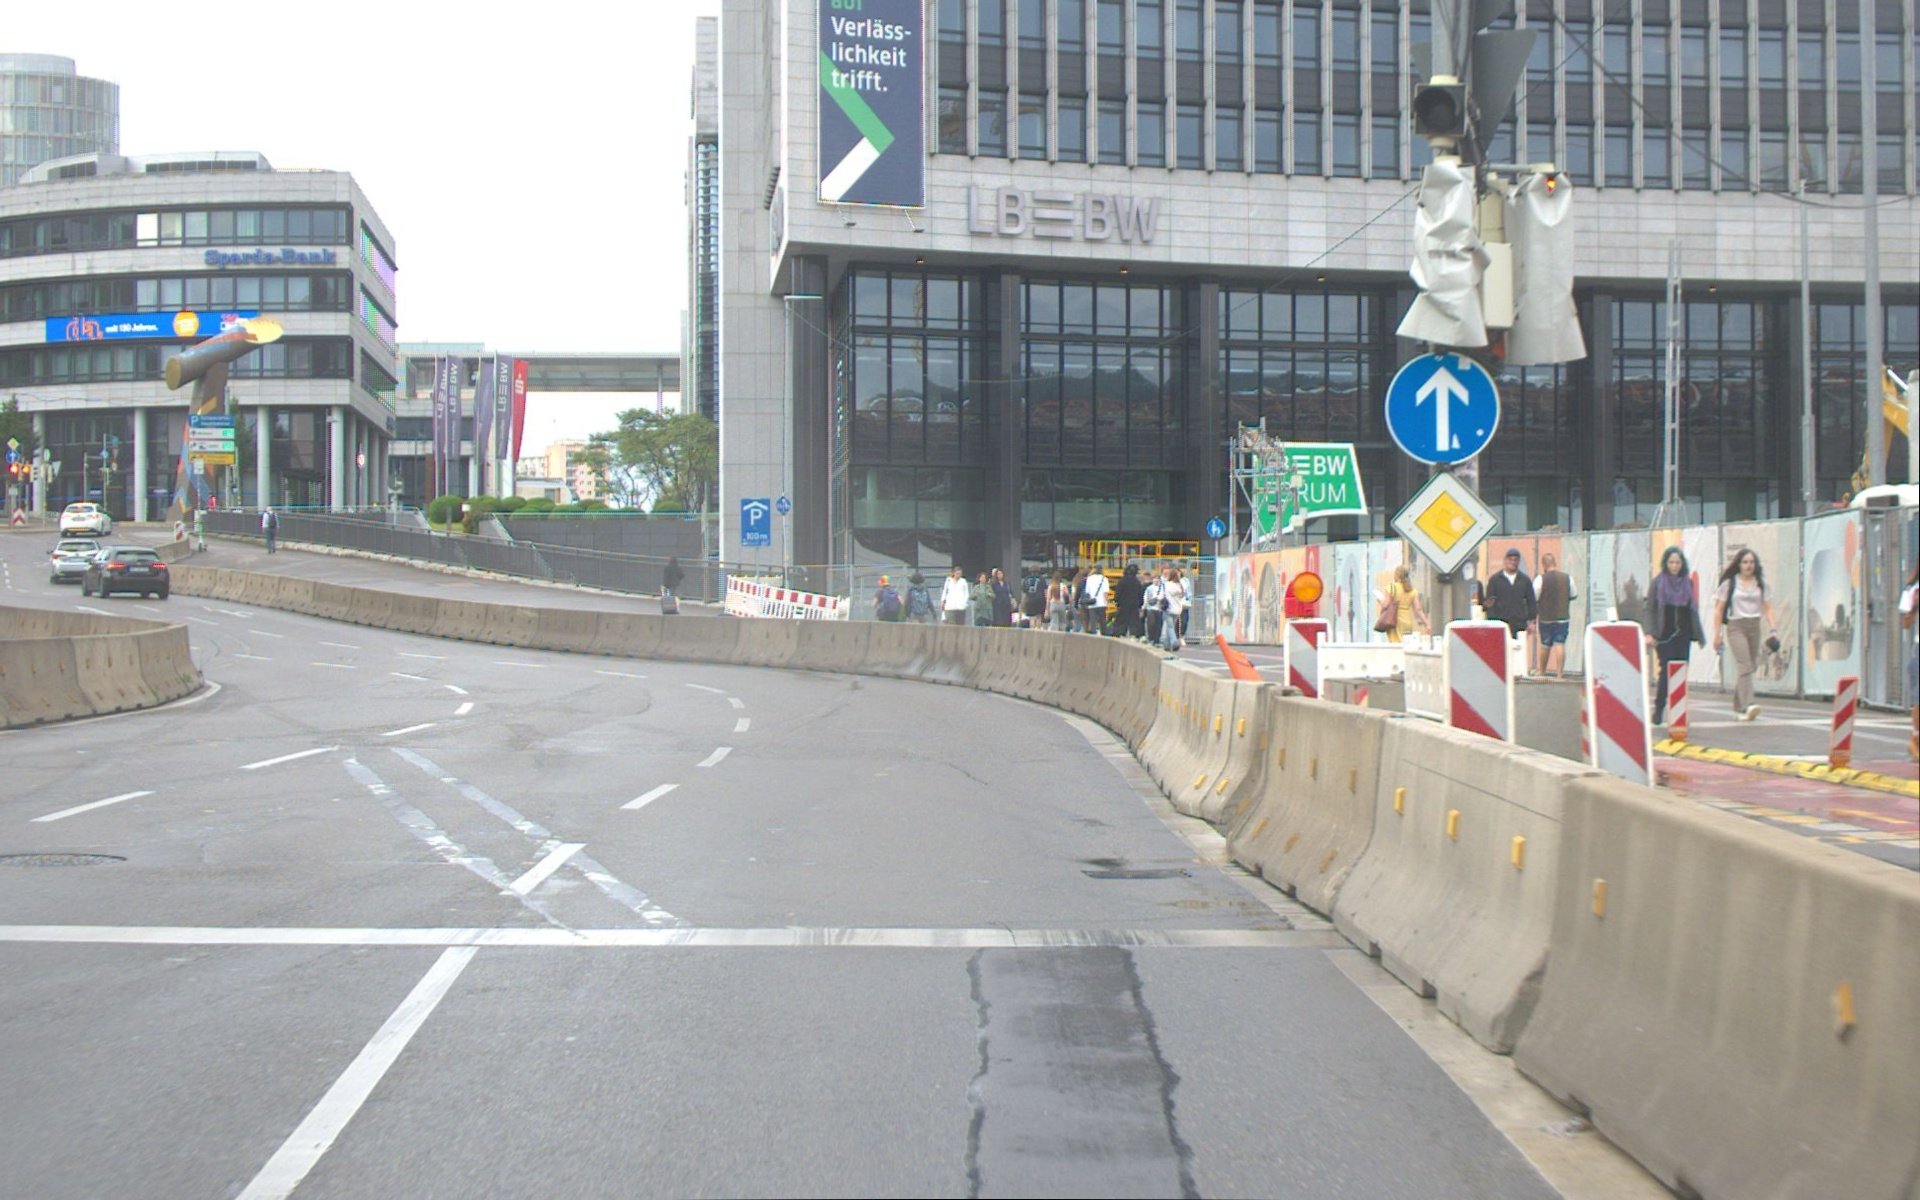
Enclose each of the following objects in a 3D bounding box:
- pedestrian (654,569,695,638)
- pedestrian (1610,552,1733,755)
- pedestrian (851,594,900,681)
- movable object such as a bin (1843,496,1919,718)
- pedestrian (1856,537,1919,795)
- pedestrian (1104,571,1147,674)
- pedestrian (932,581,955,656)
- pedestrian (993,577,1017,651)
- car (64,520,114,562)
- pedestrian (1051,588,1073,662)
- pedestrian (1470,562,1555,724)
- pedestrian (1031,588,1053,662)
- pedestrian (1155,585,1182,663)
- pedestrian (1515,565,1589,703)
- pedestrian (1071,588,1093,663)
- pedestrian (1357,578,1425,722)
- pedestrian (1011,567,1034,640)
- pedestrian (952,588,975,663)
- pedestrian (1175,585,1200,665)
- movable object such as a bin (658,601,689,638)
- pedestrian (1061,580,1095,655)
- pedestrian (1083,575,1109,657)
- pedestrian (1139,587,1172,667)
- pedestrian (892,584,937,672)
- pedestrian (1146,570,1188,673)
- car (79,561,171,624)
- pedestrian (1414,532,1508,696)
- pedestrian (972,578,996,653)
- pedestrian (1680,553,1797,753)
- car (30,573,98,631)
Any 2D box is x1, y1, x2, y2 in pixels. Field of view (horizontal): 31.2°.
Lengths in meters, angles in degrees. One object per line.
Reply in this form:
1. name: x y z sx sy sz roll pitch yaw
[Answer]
1. pedestrian: -7.468 0.098 89.885 0.756 1.784 1.057 1 -1 -23
2. pedestrian: 6.615 0.492 32.002 0.869 1.855 0.949 0 0 -5
3. pedestrian: -1.597 0.707 64.961 0.750 1.636 0.823 0 0 -14
4. movable object such as a bin: 18.601 0.146 62.906 3.086 4.016 3.697 1 -1 -24
5. pedestrian: 7.128 0.476 25.245 0.779 1.855 0.949 0 0 -5
6. pedestrian: 3.268 0.443 67.890 0.784 2.007 0.863 1 0 5
7. pedestrian: -0.381 0.419 78.590 0.448 1.699 0.647 1 0 -6
8. pedestrian: 1.037 0.321 78.785 0.448 1.699 0.647 1 0 -6
9. car: -38.252 -2.589 150.916 1.993 1.798 4.267 0 0 -15
10. pedestrian: 2.367 0.579 79.625 0.448 1.699 0.646 1 0 7
11. pedestrian: 6.400 0.490 39.847 0.779 1.855 0.811 0 0 -5
12. pedestrian: 1.910 0.580 79.936 0.448 1.699 0.646 1 0 7
13. pedestrian: 4.593 0.530 75.766 0.500 1.699 0.733 1 0 -3
14. pedestrian: 8.069 0.454 46.875 0.779 1.855 0.811 -1 0 -5
15. pedestrian: 2.824 0.587 79.376 0.448 1.699 0.646 1 0 7
16. pedestrian: 5.620 0.648 44.885 0.732 1.848 0.831 1 -1 -3
17. pedestrian: 1.454 0.081 80.011 0.448 1.699 0.646 1 0 7
18. pedestrian: 0.082 0.580 78.652 0.448 1.699 0.647 1 0 -6
19. pedestrian: 4.885 0.534 73.850 0.448 1.699 0.647 1 0 -3
20. movable object such as a bin: -7.439 0.504 89.311 0.598 0.930 0.742 1 -1 -23
21. pedestrian: 2.694 0.403 78.266 0.511 1.699 0.574 0 0 -39
22. pedestrian: 3.045 0.357 76.966 0.529 1.812 0.536 1 0 -2
23. pedestrian: 4.198 0.573 73.860 0.625 1.699 0.647 1 0 -3
24. pedestrian: -0.864 0.526 65.115 0.658 1.636 0.823 0 0 -14
25. pedestrian: 4.083 0.423 67.645 0.784 2.007 0.863 1 0 5
26. car: -22.393 -0.192 92.127 1.674 1.503 3.745 1 -3 -25
27. pedestrian: 5.678 0.162 38.994 0.819 1.821 1.111 0 -1 -4
28. pedestrian: 0.544 0.353 78.725 0.453 1.699 0.647 1 0 -6
29. pedestrian: 7.383 0.495 32.639 0.779 1.855 1.058 0 0 -5
30. car: -29.315 0.074 112.442 1.738 1.869 3.778 0 0 -21
